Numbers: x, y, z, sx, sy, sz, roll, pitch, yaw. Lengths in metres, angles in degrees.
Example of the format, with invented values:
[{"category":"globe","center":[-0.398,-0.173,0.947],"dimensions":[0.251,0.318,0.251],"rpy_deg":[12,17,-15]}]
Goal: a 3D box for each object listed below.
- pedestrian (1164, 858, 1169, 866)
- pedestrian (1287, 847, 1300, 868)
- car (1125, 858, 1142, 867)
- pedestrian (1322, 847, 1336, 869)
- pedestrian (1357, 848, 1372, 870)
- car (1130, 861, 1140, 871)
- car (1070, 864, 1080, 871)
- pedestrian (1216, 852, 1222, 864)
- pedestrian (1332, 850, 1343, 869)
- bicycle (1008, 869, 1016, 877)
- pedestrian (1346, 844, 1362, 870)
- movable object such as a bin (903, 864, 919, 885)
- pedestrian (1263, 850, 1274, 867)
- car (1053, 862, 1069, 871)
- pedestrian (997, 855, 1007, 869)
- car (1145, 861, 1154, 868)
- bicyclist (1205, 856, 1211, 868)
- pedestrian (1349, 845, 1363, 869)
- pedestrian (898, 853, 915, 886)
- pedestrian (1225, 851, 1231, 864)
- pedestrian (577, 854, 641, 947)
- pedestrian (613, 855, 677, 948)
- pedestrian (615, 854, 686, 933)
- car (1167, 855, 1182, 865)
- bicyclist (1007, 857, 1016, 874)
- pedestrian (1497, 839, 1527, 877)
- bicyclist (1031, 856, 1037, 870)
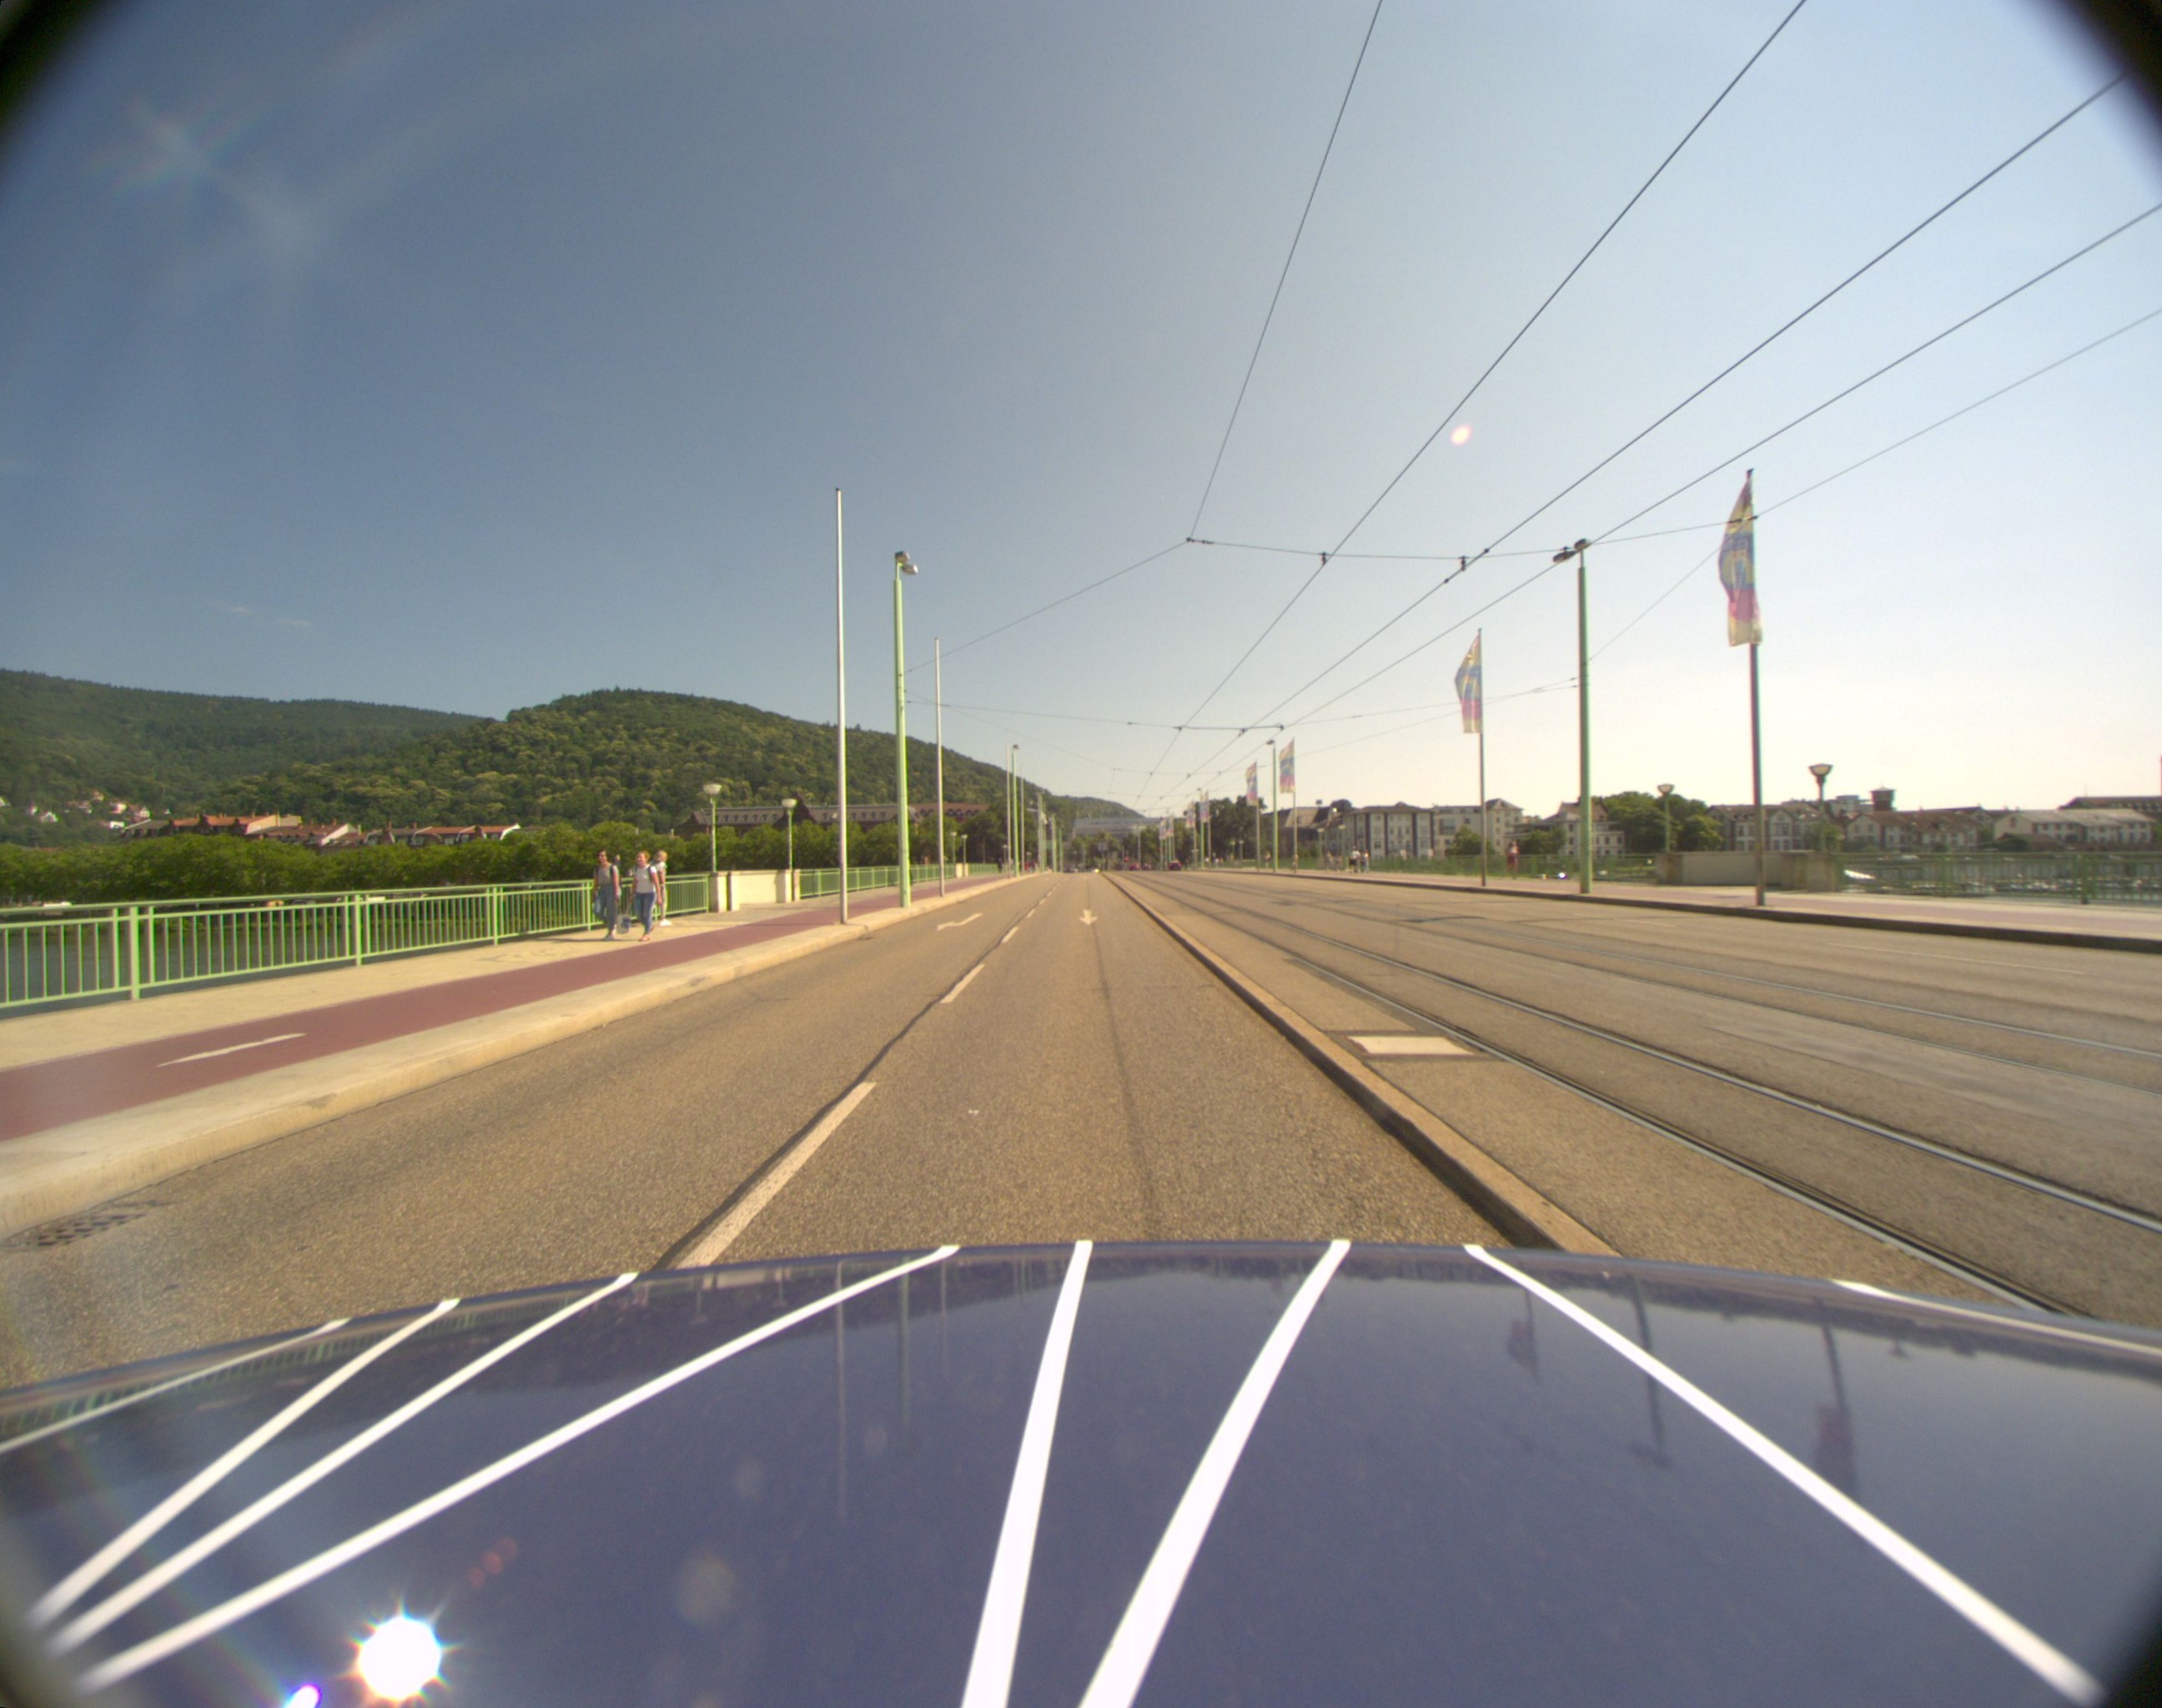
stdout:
[{"category":"pedestrian","center":[18.863,1.813,167.737],"dimensions":[0.787,1.690,1.022],"rpy_deg":[-4,1,0]},{"category":"pedestrian","center":[18.452,0.305,66.045],"dimensions":[0.787,1.690,1.022],"rpy_deg":[-4,1,0]},{"category":"car","center":[13.494,2.148,195.209],"dimensions":[3.998,2.002,1.999],"rpy_deg":[-6,1,-2]},{"category":"pedestrian","center":[18.423,0.305,56.412],"dimensions":[0.627,1.590,1.022],"rpy_deg":[-3,1,0]},{"category":"pedestrian","center":[18.836,0.350,50.484],"dimensions":[0.592,1.406,1.022],"rpy_deg":[-3,1,0]},{"category":"car","center":[11.109,2.429,156.421],"dimensions":[1.714,1.686,4.000],"rpy_deg":[-5,0,1]},{"category":"car","center":[-1.449,3.220,178.811],"dimensions":[1.998,1.379,4.000],"rpy_deg":[-6,0,1]},{"category":"pedestrian","center":[19.975,0.622,110.181],"dimensions":[0.592,1.690,1.022],"rpy_deg":[-6,1,0]},{"category":"pedestrian","center":[19.081,0.412,56.518],"dimensions":[0.547,1.429,0.789],"rpy_deg":[-3,1,0]},{"category":"bicycle","center":[-6.953,1.916,76.224],"dimensions":[0.595,0.761,1.866],"rpy_deg":[0,0,1]},{"category":"pedestrian","center":[18.133,0.191,50.484],"dimensions":[0.671,1.690,1.022],"rpy_deg":[-3,1,0]},{"category":"movable object such as a bin","center":[-9.008,1.080,40.293],"dimensions":[0.583,1.084,0.933],"rpy_deg":[0,0,0]},{"category":"pedestrian","center":[19.234,0.412,78.062],"dimensions":[0.787,1.690,1.022],"rpy_deg":[-4,1,0]},{"category":"car","center":[-5.060,3.238,194.294],"dimensions":[3.997,2.002,2.000],"rpy_deg":[-6,0,-2]},{"category":"pedestrian","center":[-8.908,0.893,85.618],"dimensions":[0.950,1.653,1.082],"rpy_deg":[1,0,0]},{"category":"car","center":[14.470,2.234,160.143],"dimensions":[1.672,1.428,4.000],"rpy_deg":[-1,1,1]},{"category":"bicyclist","center":[17.703,1.167,105.744],"dimensions":[0.666,1.641,0.622],"rpy_deg":[-1,1,1]},{"category":"pedestrian","center":[19.620,0.199,54.205],"dimensions":[0.592,1.690,1.022],"rpy_deg":[-3,1,0]},{"category":"pedestrian","center":[-9.074,0.794,39.450],"dimensions":[0.664,1.696,0.859],"rpy_deg":[0,1,0]},{"category":"pedestrian","center":[20.723,0.486,107.022],"dimensions":[0.592,1.690,0.905],"rpy_deg":[-6,1,0]},{"category":"pedestrian","center":[-8.657,0.831,13.964],"dimensions":[0.669,1.650,0.745],"rpy_deg":[0,1,0]},{"category":"pedestrian","center":[-7.921,0.840,13.834],"dimensions":[0.664,1.649,0.825],"rpy_deg":[0,1,0]},{"category":"pedestrian","center":[-9.386,0.836,16.608],"dimensions":[0.950,1.653,1.082],"rpy_deg":[0,1,0]},{"category":"car","center":[13.616,0.898,111.236],"dimensions":[1.721,1.446,3.901],"rpy_deg":[0,0,0]},{"category":"bicyclist","center":[-6.960,1.183,76.156],"dimensions":[0.731,1.655,0.844],"rpy_deg":[-1,1,1]},{"category":"pedestrian","center":[19.408,0.181,34.249],"dimensions":[0.686,1.681,1.022],"rpy_deg":[-3,1,0]},{"category":"bicyclist","center":[-5.889,1.122,95.017],"dimensions":[0.587,1.759,0.672],"rpy_deg":[0,1,1]}]
